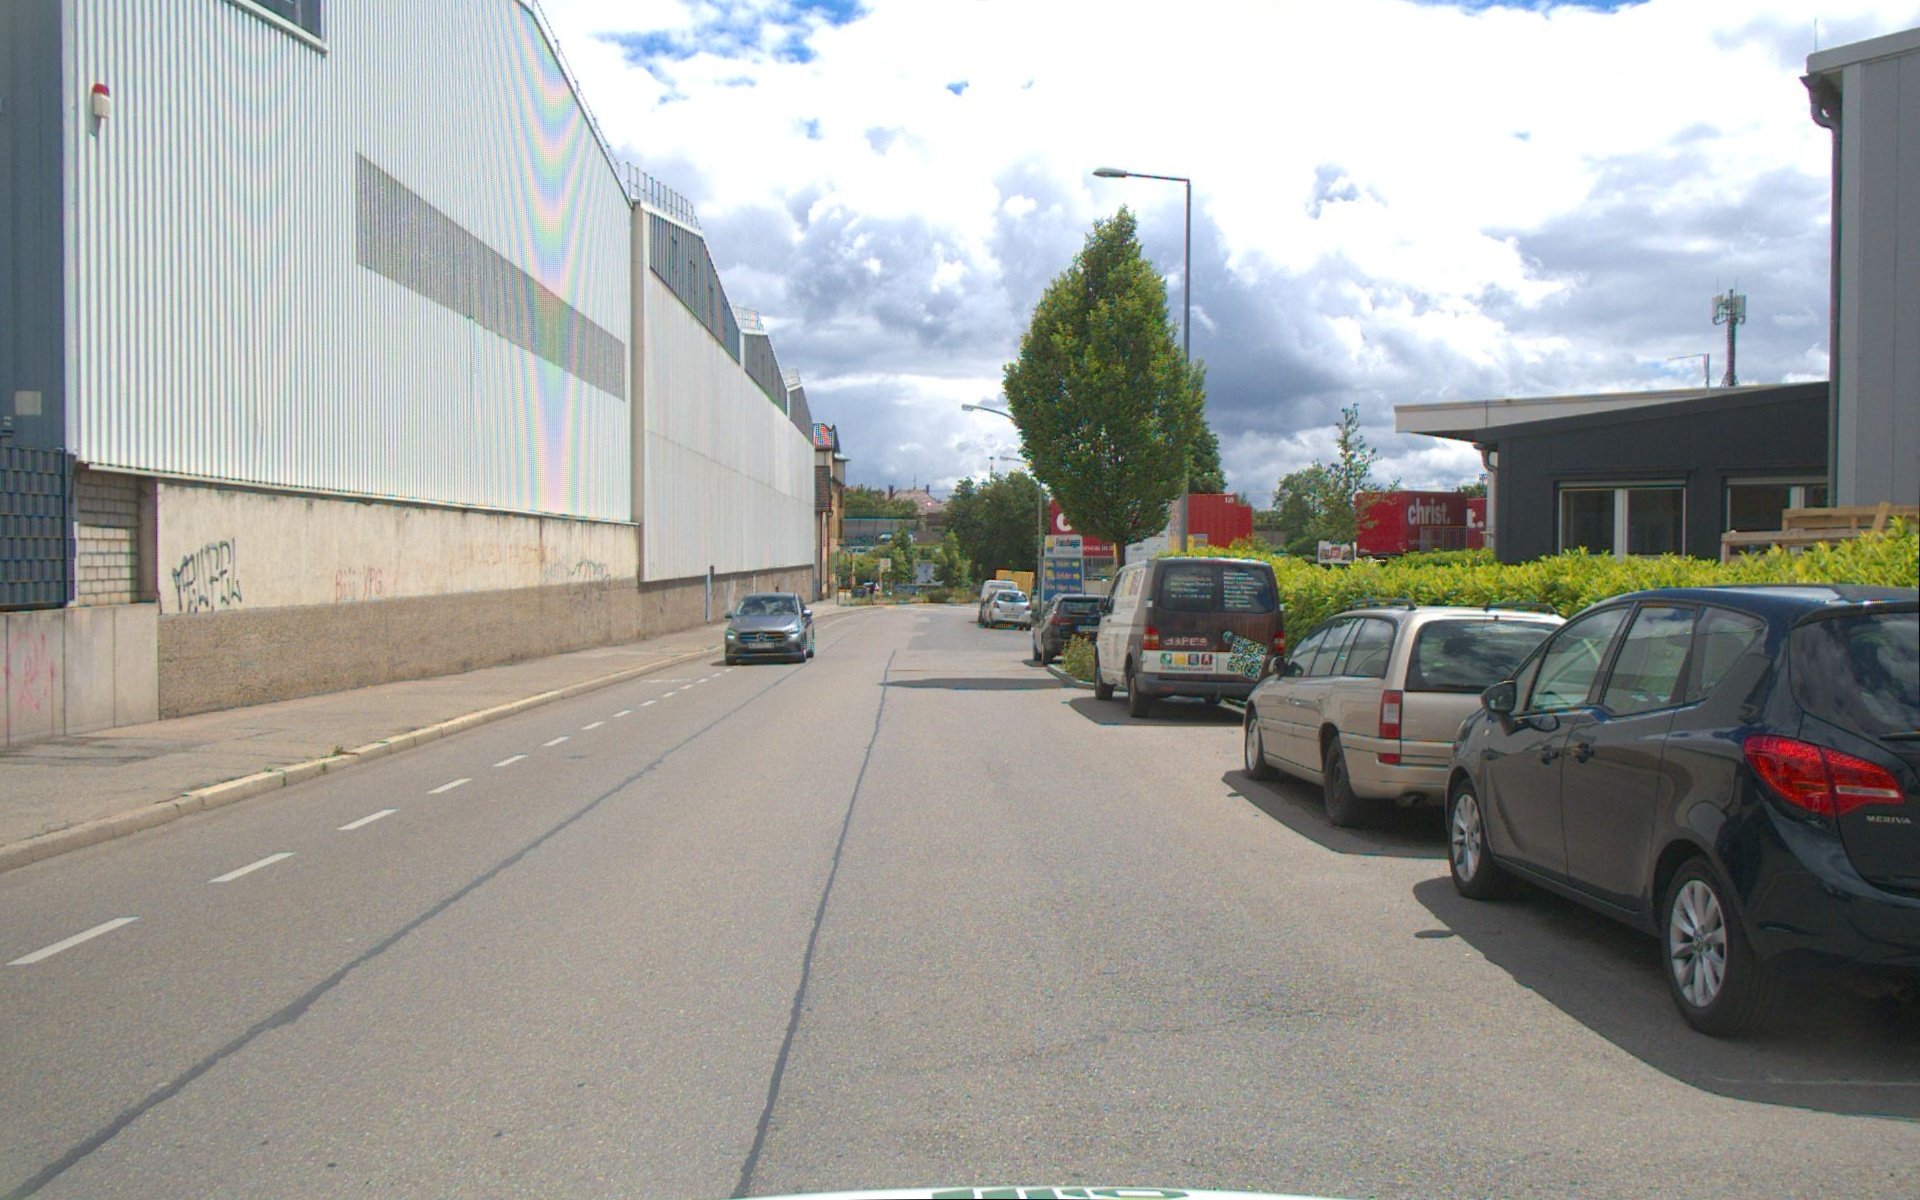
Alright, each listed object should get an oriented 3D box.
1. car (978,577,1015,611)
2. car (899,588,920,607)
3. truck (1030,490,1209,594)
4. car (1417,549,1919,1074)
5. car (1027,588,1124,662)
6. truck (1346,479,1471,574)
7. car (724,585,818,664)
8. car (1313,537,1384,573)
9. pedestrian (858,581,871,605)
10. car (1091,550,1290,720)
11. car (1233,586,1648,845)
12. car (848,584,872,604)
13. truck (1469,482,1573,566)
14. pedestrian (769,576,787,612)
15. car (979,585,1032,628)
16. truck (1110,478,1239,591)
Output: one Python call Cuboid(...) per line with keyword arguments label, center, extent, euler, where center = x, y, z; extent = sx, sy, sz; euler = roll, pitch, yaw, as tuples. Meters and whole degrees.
Cuboid(label="car", center=(1.682, -0.291, 77.034), extent=(1.666, 1.554, 3.738), euler=(0, 0, 0))
Cuboid(label="car", center=(-4.447, -0.224, 144.410), extent=(1.815, 1.512, 3.998), euler=(0, -1, -2))
Cuboid(label="truck", center=(7.710, -2.719, 80.274), extent=(8.274, 4.753, 2.583), euler=(-1, -2, 20))
Cuboid(label="car", center=(3.431, 0.678, 7.353), extent=(1.645, 1.666, 4.123), euler=(1, 0, 0))
Cuboid(label="car", center=(2.451, 0.504, 35.985), extent=(1.679, 1.499, 4.510), euler=(0, 0, -2))
Cuboid(label="truck", center=(22.146, -3.488, 81.364), extent=(2.941, 4.130, 8.440), euler=(-1, -2, 37))
Cuboid(label="car", center=(-4.207, 0.551, 37.264), extent=(1.685, 1.583, 4.286), euler=(-3, -1, -2))
Cuboid(label="car", center=(31.843, -3.692, 135.609), extent=(5.522, 2.724, 2.000), euler=(-1, -2, 20))
Cuboid(label="pedestrian", center=(-6.701, -0.496, 115.971), extent=(0.835, 1.692, 0.860), euler=(0, -1, 3))
Cuboid(label="car", center=(2.950, 0.405, 22.272), extent=(1.831, 2.025, 5.142), euler=(0, 0, -2))
Cuboid(label="car", center=(3.318, 0.687, 12.422), extent=(1.622, 1.567, 4.732), euler=(0, 0, -2))
Cuboid(label="car", center=(-8.033, -0.500, 132.935), extent=(1.815, 1.512, 3.998), euler=(0, -1, -2))
Cuboid(label="truck", center=(31.617, -4.157, 92.992), extent=(2.941, 4.130, 8.440), euler=(-1, -2, 37))
Cuboid(label="pedestrian", center=(-8.374, -0.276, 76.101), extent=(0.698, 1.666, 0.777), euler=(0, -1, 0))
Cuboid(label="car", center=(1.792, 0.231, 66.148), extent=(1.668, 1.554, 3.734), euler=(3, 0, -5))
Cuboid(label="truck", center=(9.406, -2.758, 73.478), extent=(2.535, 4.527, 7.820), euler=(0, -1, -19))
